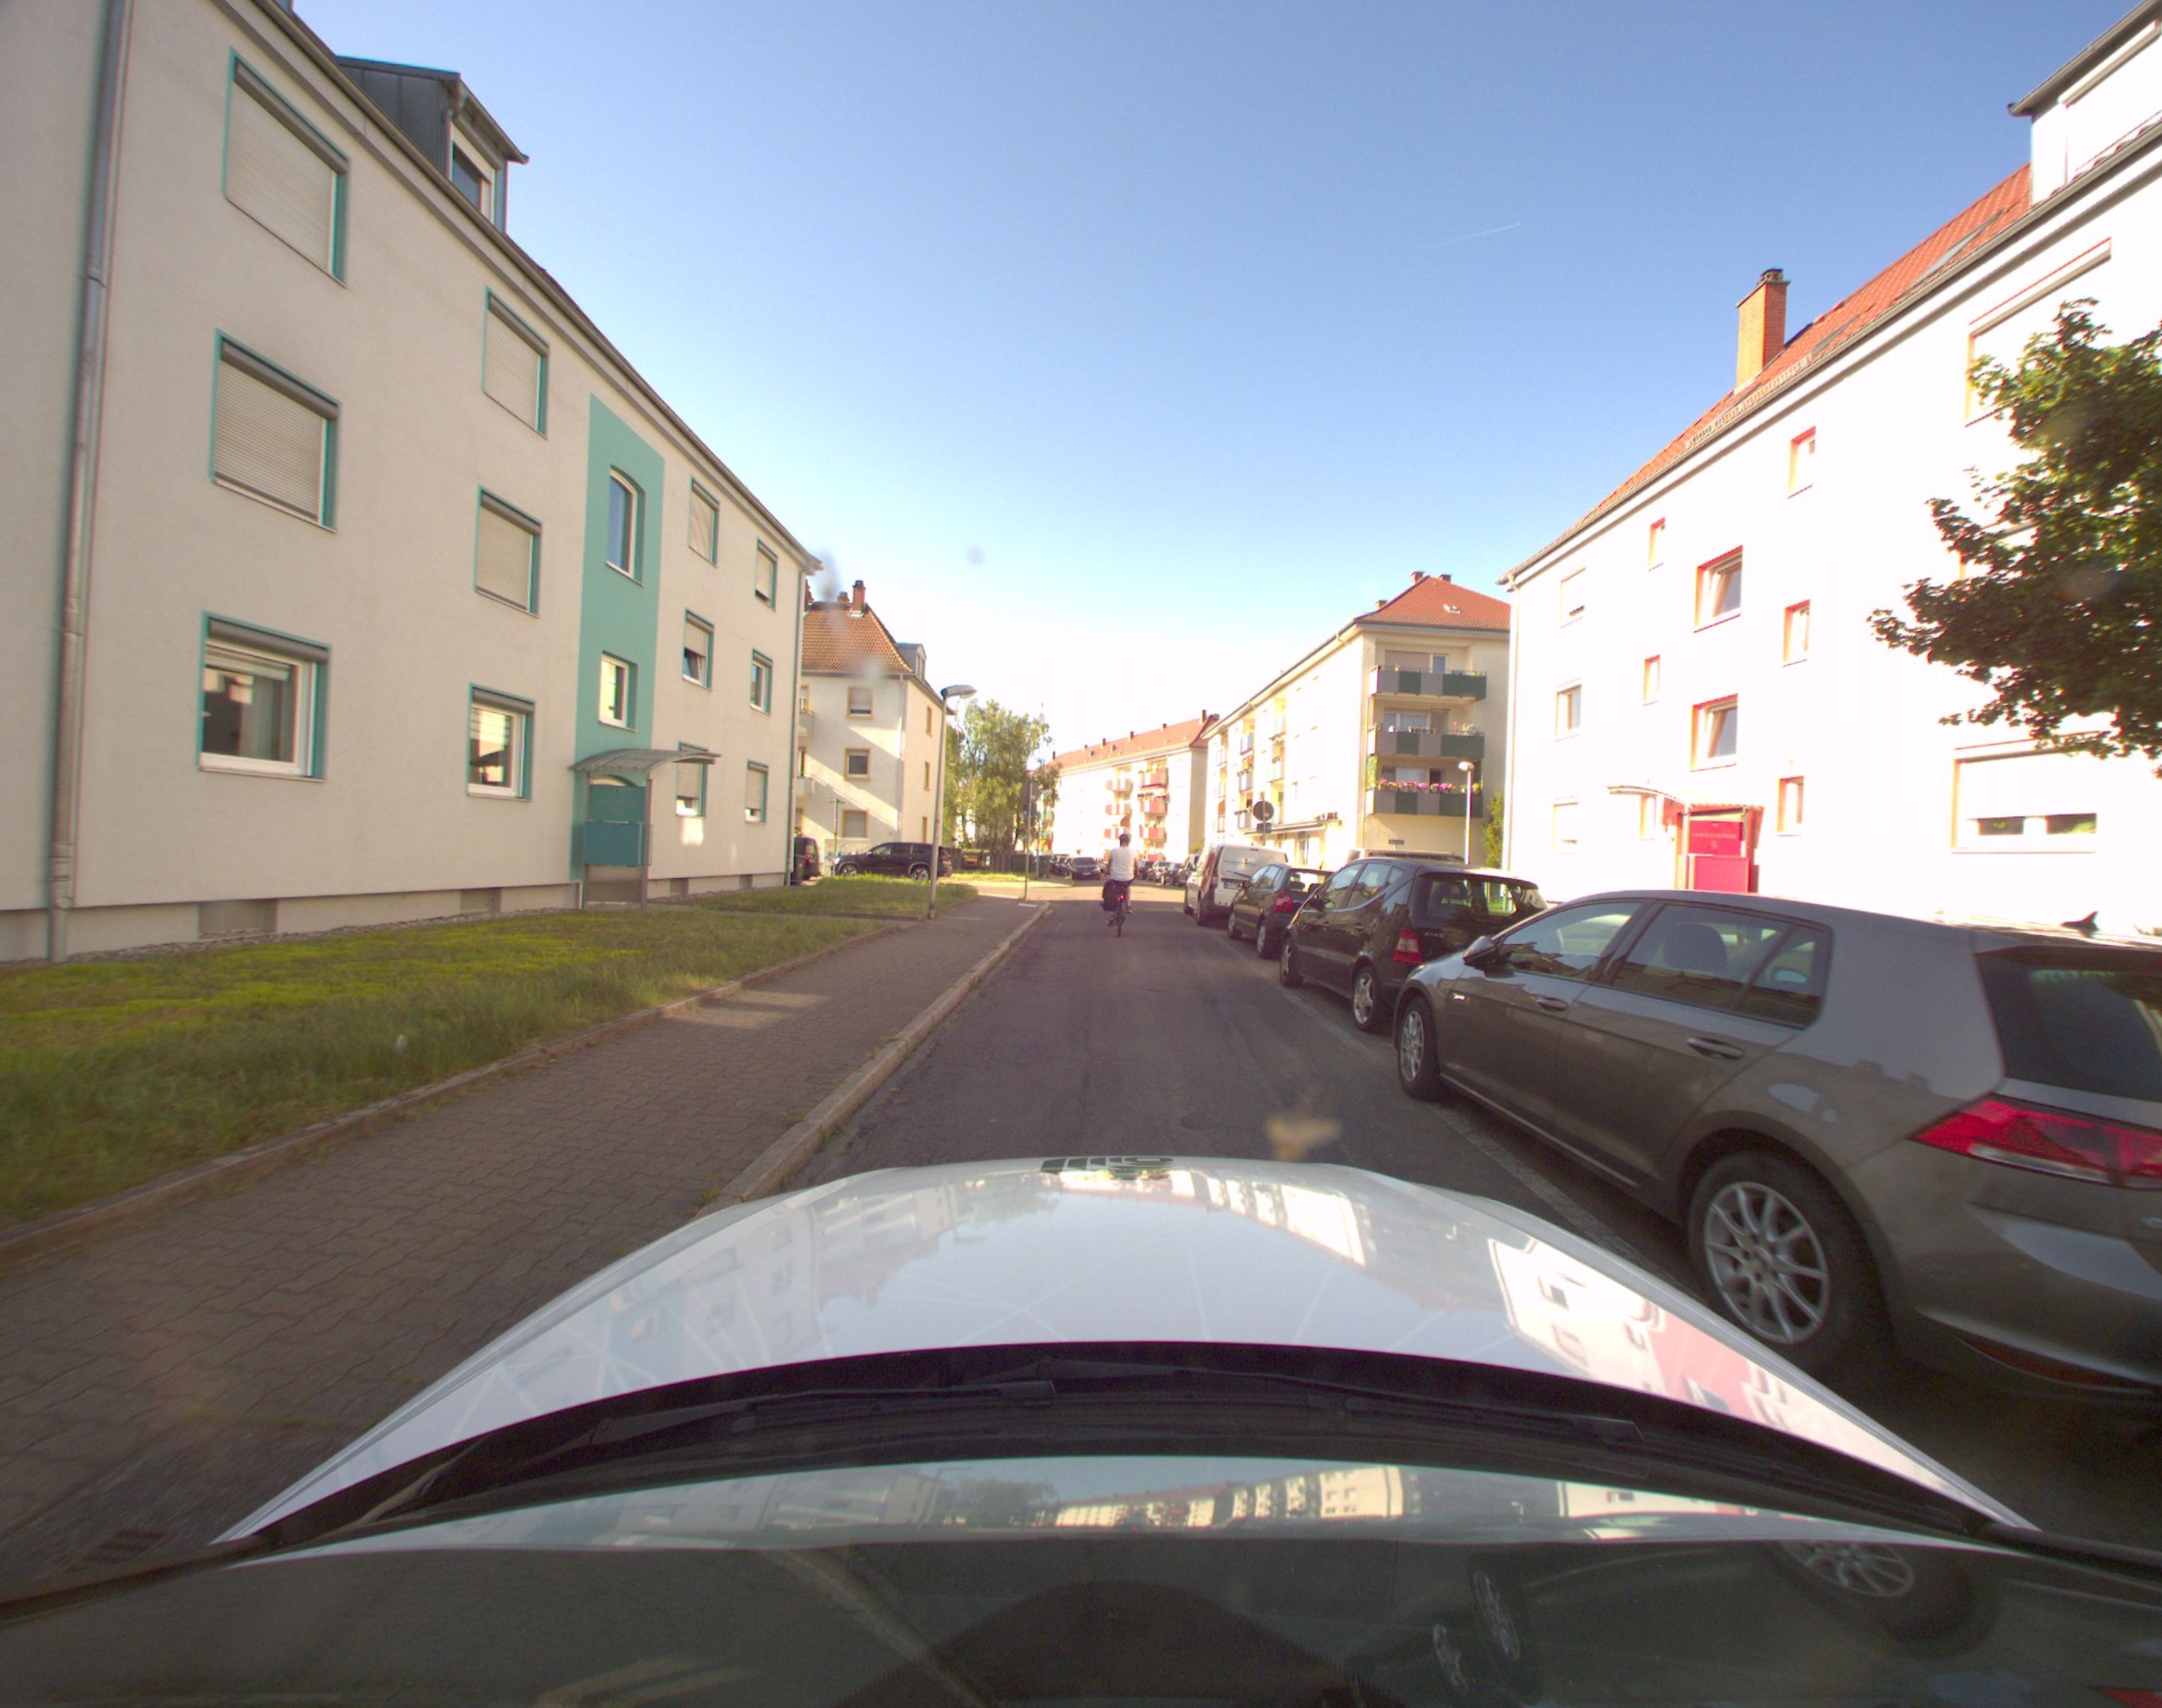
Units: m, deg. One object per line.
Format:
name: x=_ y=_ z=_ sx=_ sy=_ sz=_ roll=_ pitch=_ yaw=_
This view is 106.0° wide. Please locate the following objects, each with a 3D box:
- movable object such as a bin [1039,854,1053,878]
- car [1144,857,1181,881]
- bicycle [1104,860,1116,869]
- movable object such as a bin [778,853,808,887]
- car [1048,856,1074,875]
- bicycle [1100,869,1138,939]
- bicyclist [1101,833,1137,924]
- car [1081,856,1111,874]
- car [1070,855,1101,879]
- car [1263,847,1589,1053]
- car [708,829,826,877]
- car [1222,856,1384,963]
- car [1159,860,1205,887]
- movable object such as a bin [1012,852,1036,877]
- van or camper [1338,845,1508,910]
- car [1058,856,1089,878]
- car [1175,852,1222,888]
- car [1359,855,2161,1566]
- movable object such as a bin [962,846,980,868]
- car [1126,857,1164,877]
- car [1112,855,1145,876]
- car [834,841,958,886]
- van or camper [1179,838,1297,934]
movable object such as a bin: x=-2.050 y=0.689 z=47.741 sx=0.773 sy=1.393 sz=1.417 roll=2 pitch=0 yaw=-1
car: x=5.495 y=1.010 z=55.414 sx=1.675 sy=1.447 sz=4.716 roll=3 pitch=0 yaw=-5
bicycle: x=3.169 y=1.141 z=89.808 sx=0.619 sy=0.978 sz=1.883 roll=-1 pitch=2 yaw=-20
movable object such as a bin: x=-8.640 y=0.465 z=24.467 sx=0.611 sy=0.992 sz=0.715 roll=2 pitch=0 yaw=0
car: x=-1.561 y=0.868 z=62.491 sx=1.554 sy=1.442 sz=3.958 roll=-1 pitch=0 yaw=-7
bicycle: x=0.698 y=0.868 z=14.796 sx=0.624 sy=1.115 sz=1.818 roll=1 pitch=1 yaw=3
bicyclist: x=0.695 y=0.432 z=14.732 sx=0.593 sy=1.579 sz=0.908 roll=-1 pitch=-1 yaw=3
car: x=1.471 y=1.021 z=80.561 sx=1.770 sy=1.635 sz=4.018 roll=0 pitch=1 yaw=-17
car: x=0.249 y=0.817 z=51.971 sx=1.674 sy=1.453 sz=4.615 roll=-1 pitch=0 yaw=-3
car: x=3.221 y=0.780 z=8.434 sx=1.613 sy=1.550 sz=3.607 roll=5 pitch=0 yaw=-3
car: x=-12.498 y=-0.009 z=32.589 sx=3.976 sy=1.789 sz=1.719 roll=1 pitch=-2 yaw=1
car: x=3.462 y=0.794 z=13.380 sx=1.568 sy=1.417 sz=3.787 roll=3 pitch=0 yaw=0
car: x=6.034 y=1.122 z=49.048 sx=1.676 sy=1.407 sz=4.536 roll=3 pitch=0 yaw=-6
movable object such as a bin: x=-3.348 y=0.605 z=47.993 sx=1.214 sy=1.380 sz=0.768 roll=3 pitch=-1 yaw=4
van or camper: x=11.958 y=0.791 z=28.708 sx=5.107 sy=2.013 sz=2.000 roll=2 pitch=1 yaw=0
car: x=-0.560 y=0.860 z=57.068 sx=1.676 sy=1.442 sz=4.269 roll=-1 pitch=0 yaw=-7
car: x=6.271 y=0.843 z=43.768 sx=1.743 sy=1.824 sz=4.127 roll=-1 pitch=0 yaw=-3
car: x=2.877 y=0.844 z=3.779 sx=1.624 sy=1.450 sz=3.949 roll=5 pitch=1 yaw=-2
movable object such as a bin: x=-7.218 y=0.173 z=53.312 sx=1.057 sy=1.435 sz=1.002 roll=0 pitch=0 yaw=-1
car: x=4.816 y=0.960 z=61.878 sx=1.695 sy=1.431 sz=4.669 roll=1 pitch=-1 yaw=-12
car: x=3.918 y=0.965 z=68.161 sx=1.694 sy=1.655 sz=4.374 roll=1 pitch=0 yaw=-11
car: x=-7.340 y=0.385 z=32.560 sx=4.472 sy=1.664 sz=1.719 roll=1 pitch=-2 yaw=1
van or camper: x=3.399 y=0.639 z=18.555 sx=1.786 sy=1.747 sz=4.737 roll=5 pitch=0 yaw=2
